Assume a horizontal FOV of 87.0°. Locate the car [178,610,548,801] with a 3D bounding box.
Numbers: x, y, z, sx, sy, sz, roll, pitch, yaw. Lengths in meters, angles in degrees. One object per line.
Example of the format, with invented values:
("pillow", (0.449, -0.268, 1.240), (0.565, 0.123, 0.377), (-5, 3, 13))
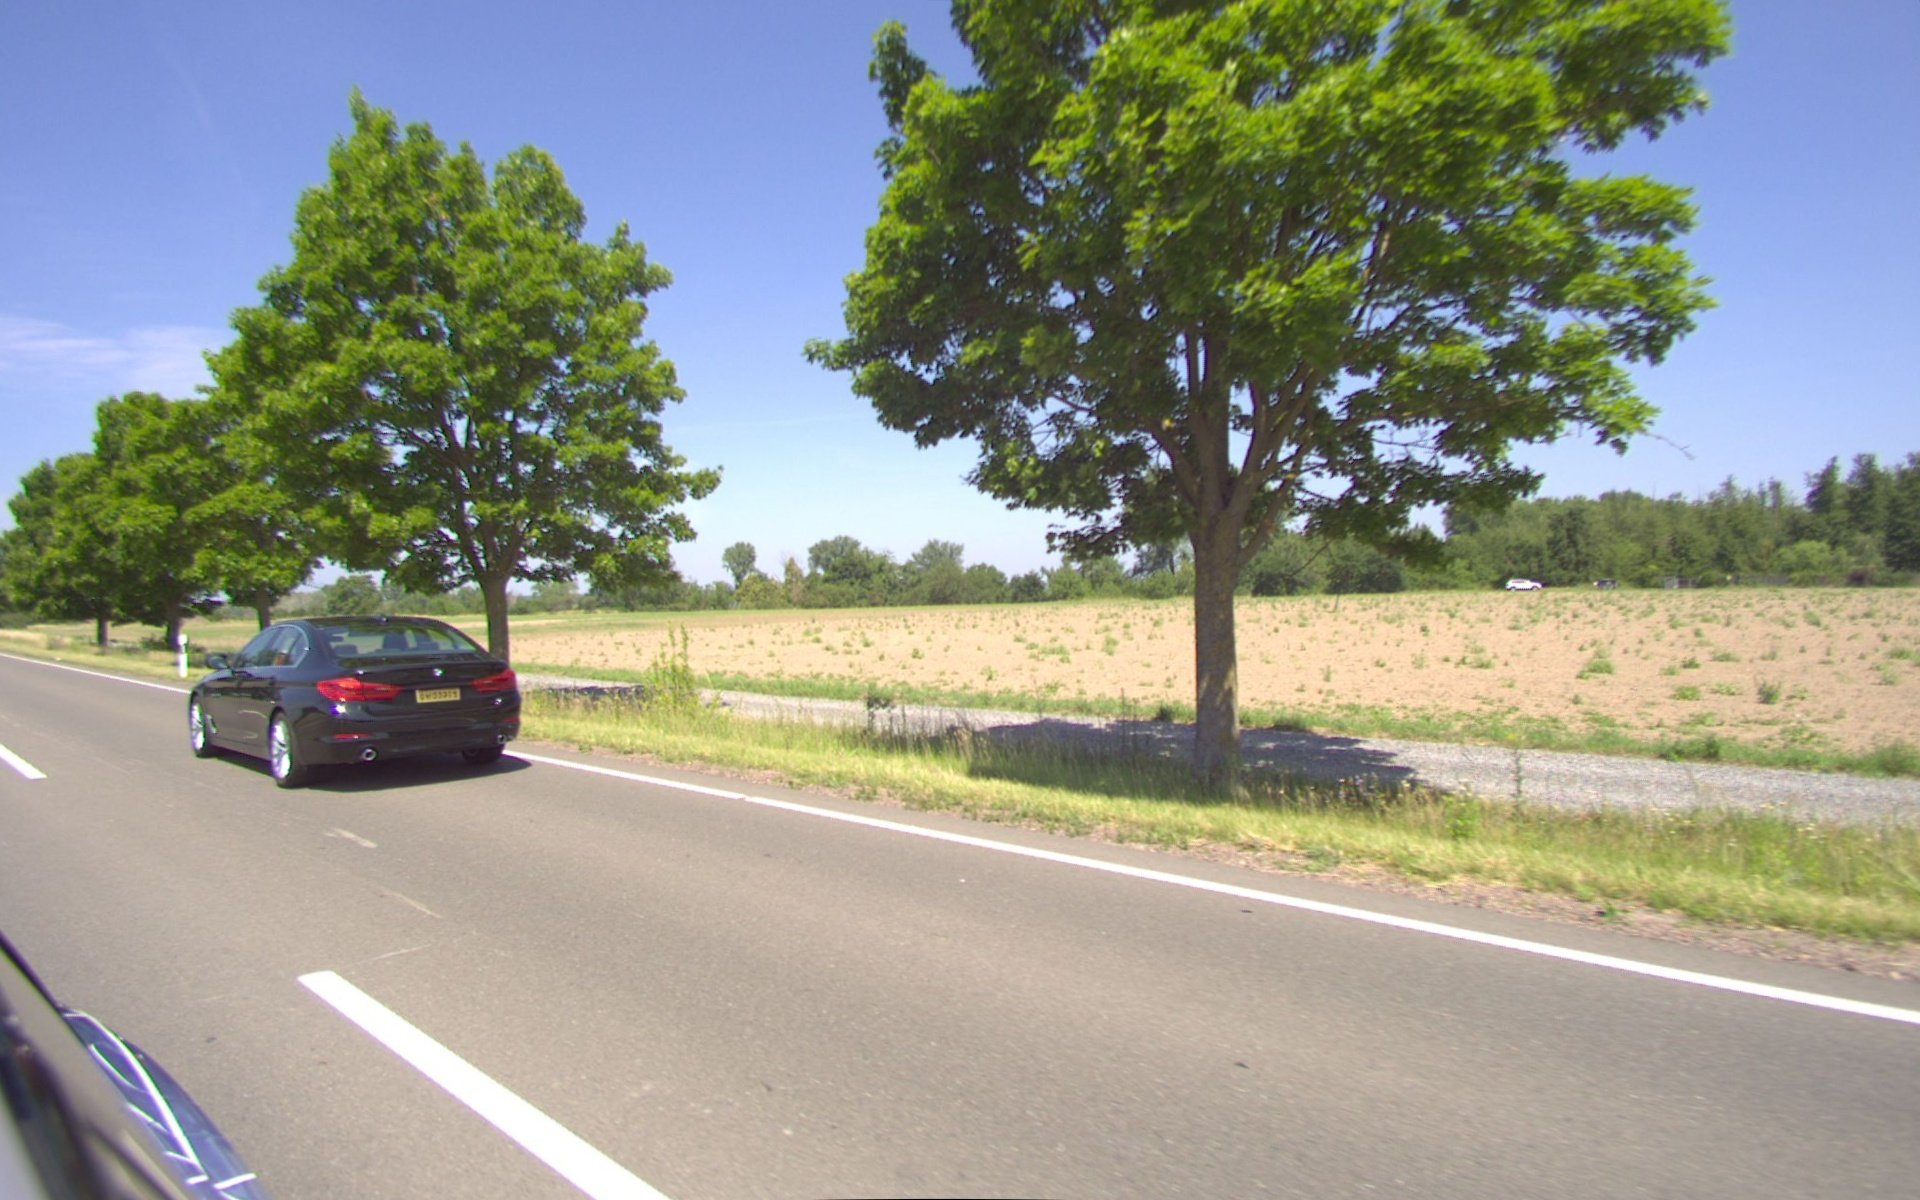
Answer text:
("car", (-6.001, 0.839, 9.910), (4.587, 1.431, 1.803), (-1, 0, 41))
